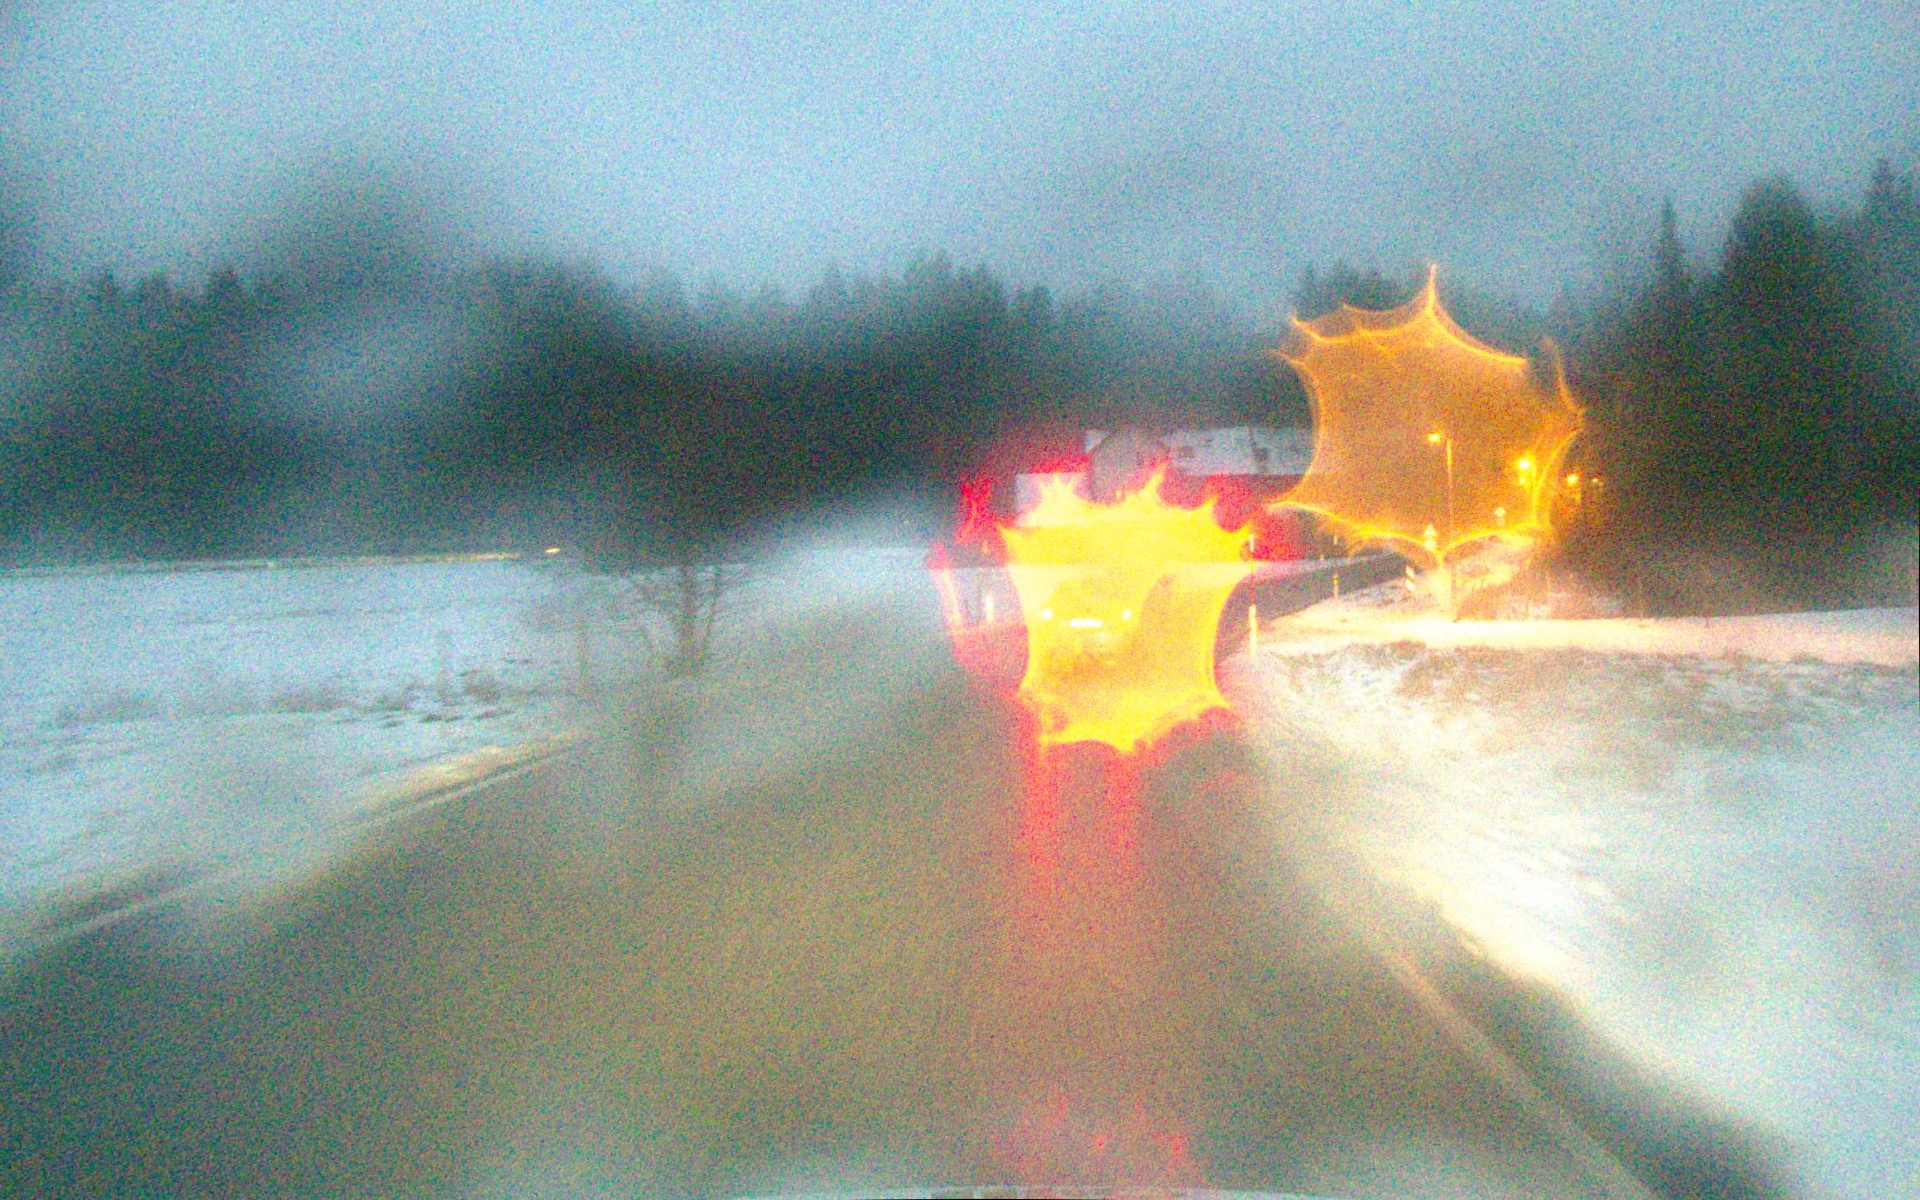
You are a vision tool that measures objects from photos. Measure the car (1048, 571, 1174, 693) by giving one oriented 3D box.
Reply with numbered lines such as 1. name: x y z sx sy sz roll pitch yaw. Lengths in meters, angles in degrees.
1. car: 2.450 0.486 27.592 1.785 1.828 3.578 -3 0 2
